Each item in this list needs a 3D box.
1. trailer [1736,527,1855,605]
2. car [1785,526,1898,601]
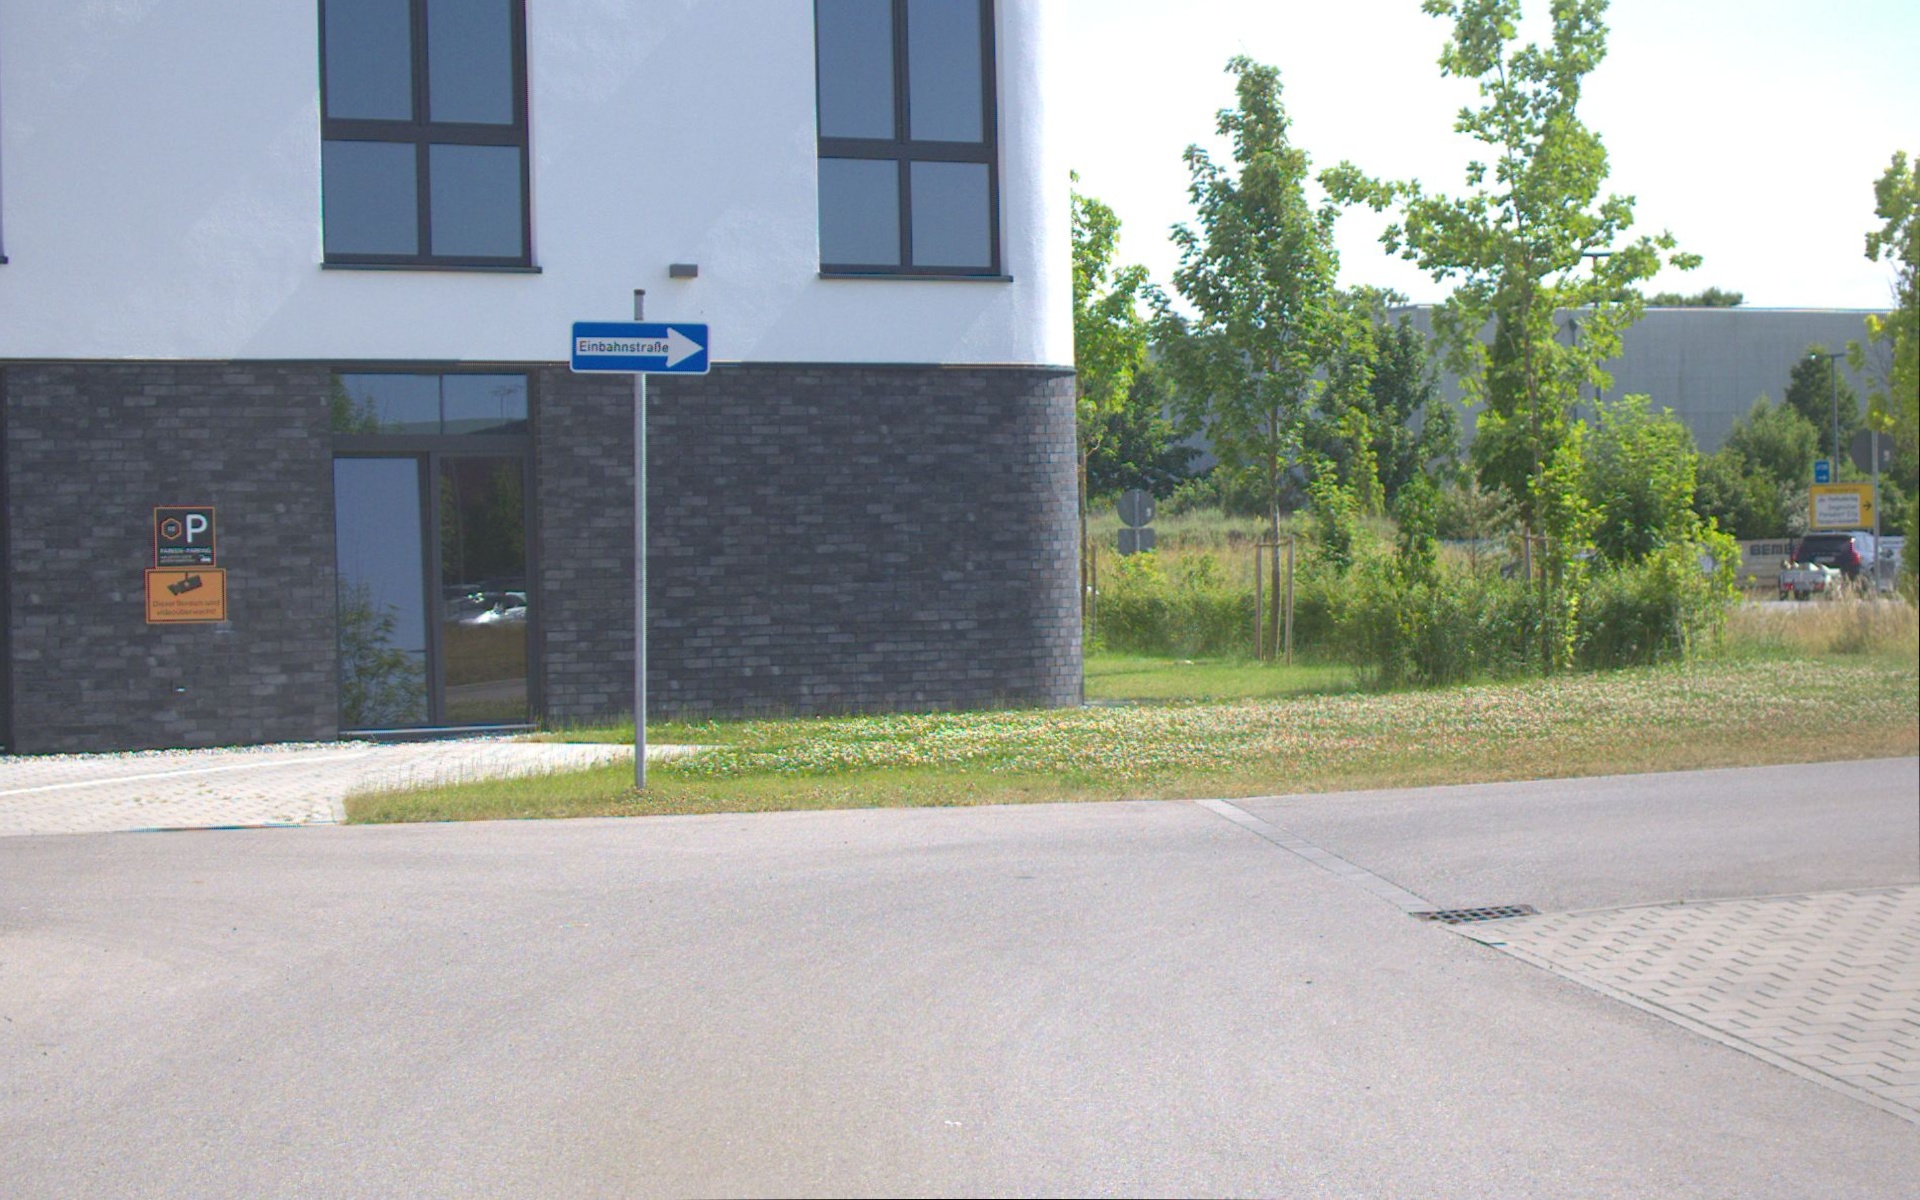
[{"bbox_3d":[20.446,-0.855,84.046,1.825,1.853,3.994,0,1,29],"label":"trailer"},{"bbox_3d":[22.456,-0.936,87.503,1.825,1.853,3.994,0,1,29],"label":"car"}]
